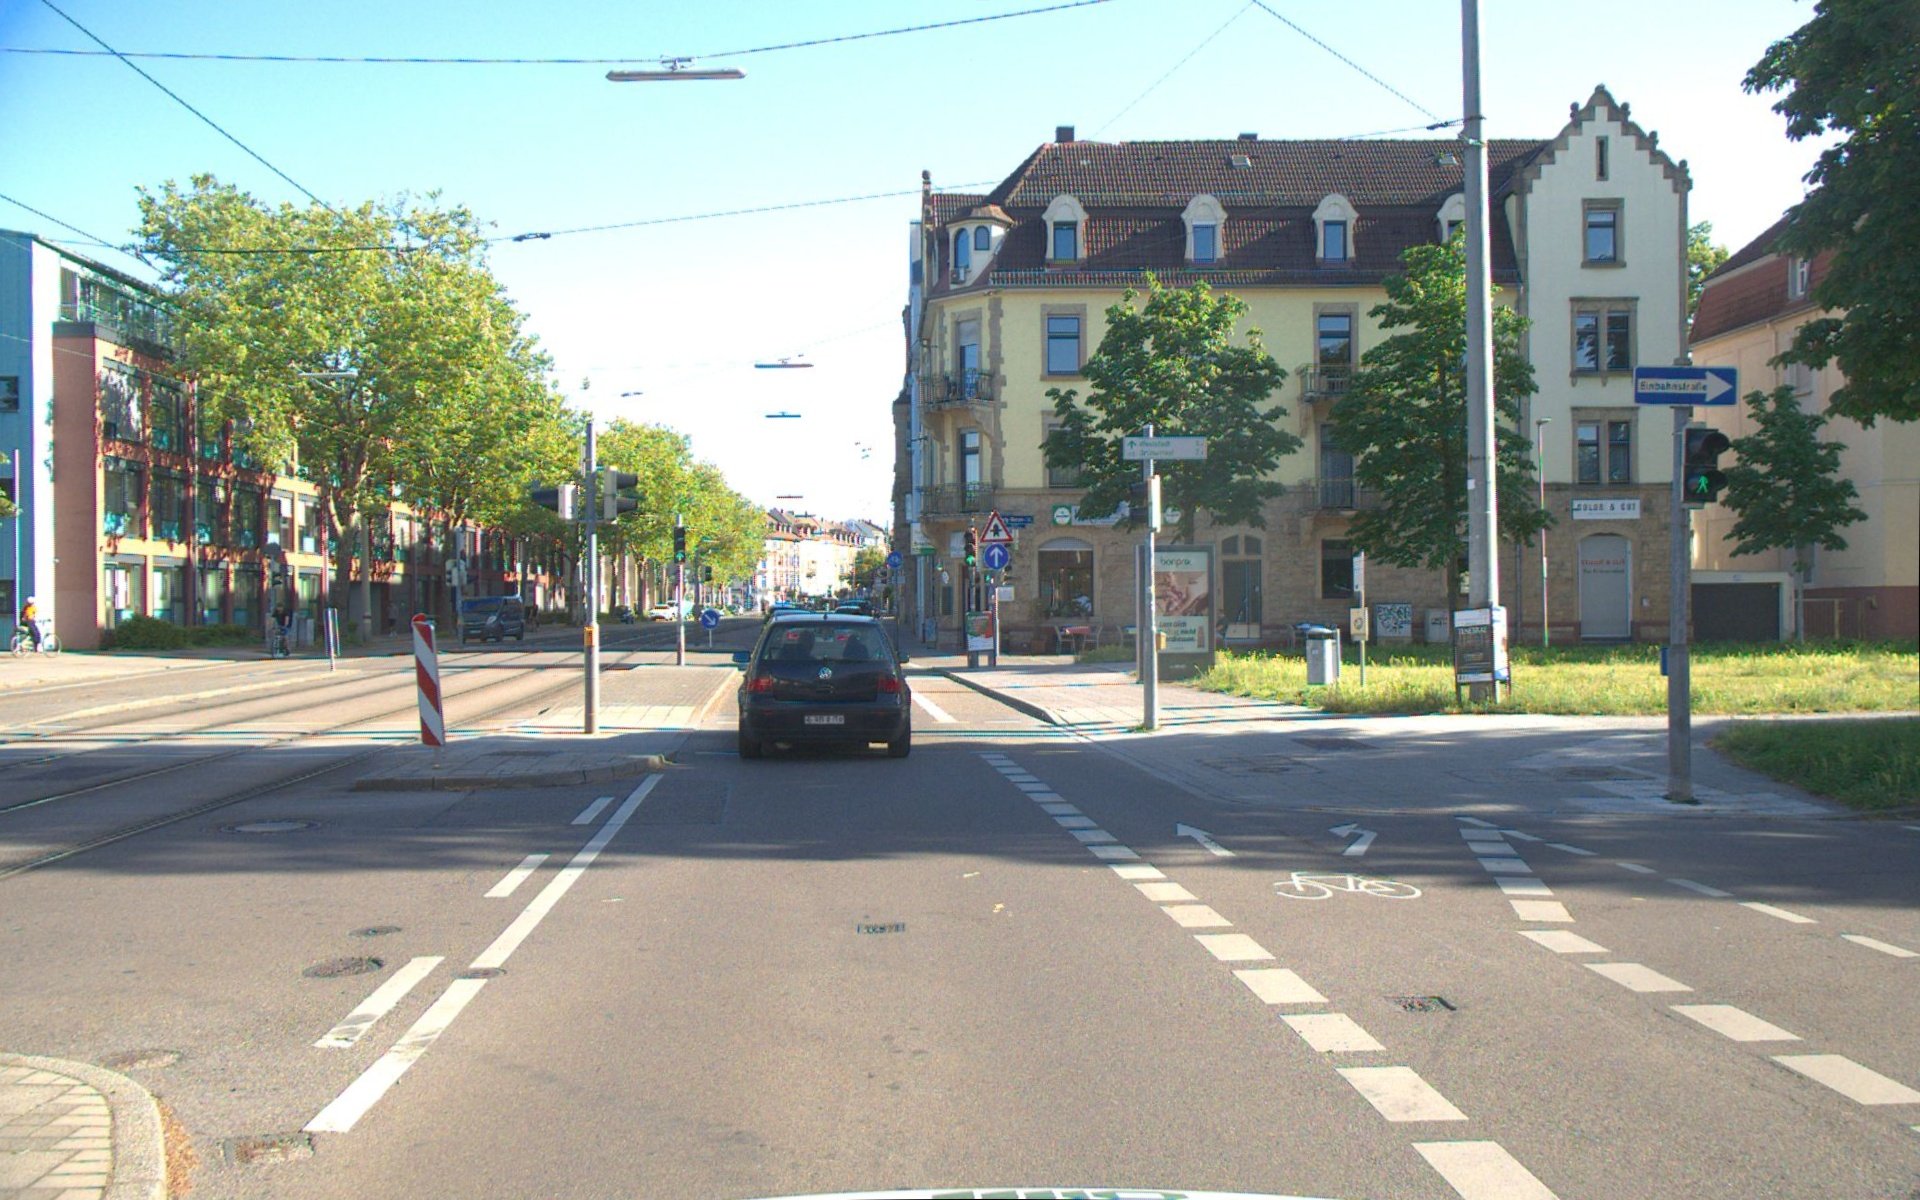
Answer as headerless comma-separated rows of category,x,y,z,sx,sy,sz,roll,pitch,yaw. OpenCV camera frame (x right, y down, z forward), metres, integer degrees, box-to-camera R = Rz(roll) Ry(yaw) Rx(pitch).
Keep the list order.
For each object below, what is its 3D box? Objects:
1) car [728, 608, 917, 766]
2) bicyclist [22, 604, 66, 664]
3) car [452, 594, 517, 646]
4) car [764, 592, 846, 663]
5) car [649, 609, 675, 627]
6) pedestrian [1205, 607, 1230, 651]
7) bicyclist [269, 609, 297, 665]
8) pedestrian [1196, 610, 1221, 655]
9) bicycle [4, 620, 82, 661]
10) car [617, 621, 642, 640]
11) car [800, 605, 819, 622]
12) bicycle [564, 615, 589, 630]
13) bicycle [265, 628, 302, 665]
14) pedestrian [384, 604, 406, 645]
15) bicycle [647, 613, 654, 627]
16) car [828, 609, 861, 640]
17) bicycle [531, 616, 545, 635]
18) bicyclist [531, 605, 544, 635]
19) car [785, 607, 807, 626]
car,-1.407,0.804,17.205,1.714,1.399,3.996,-1,0,-4
bicyclist,-26.735,0.992,48.267,0.592,1.722,0.932,1,0,22
car,-20.684,0.844,72.096,1.982,2.048,5.240,-2,1,-9
car,-3.625,0.616,39.172,1.713,1.564,3.889,-1,0,-3
car,-28.906,1.738,160.779,1.972,1.600,4.689,1,0,-4
pedestrian,8.112,0.906,52.074,0.625,1.383,0.701,1,0,-2
bicyclist,-21.802,1.187,53.265,0.575,1.740,0.900,-2,0,-6
pedestrian,7.829,1.027,52.093,0.625,1.383,0.701,1,0,-2
bicycle,-26.736,1.164,48.259,0.619,1.149,2.035,1,0,22
car,-27.303,2.511,136.674,1.477,1.479,3.460,-2,-2,-3
car,-13.736,1.229,150.909,1.603,1.498,3.727,-1,0,-3
bicycle,-33.097,1.931,142.664,1.968,1.301,0.664,1,0,-3
bicycle,-21.802,1.493,53.296,0.575,1.133,1.824,-2,0,-6
pedestrian,-28.222,1.227,82.616,0.894,2.049,0.779,1,0,-12
bicycle,-29.063,1.868,155.189,0.570,1.230,1.650,1,0,-9
car,-5.847,1.224,83.923,1.622,1.508,3.997,0,0,-3
bicycle,-23.909,1.442,93.649,0.633,1.061,1.920,1,0,-11
bicyclist,-23.892,1.122,93.618,0.633,1.640,0.779,1,0,-12
car,-12.975,1.275,130.953,1.603,1.498,3.727,-1,0,-3
